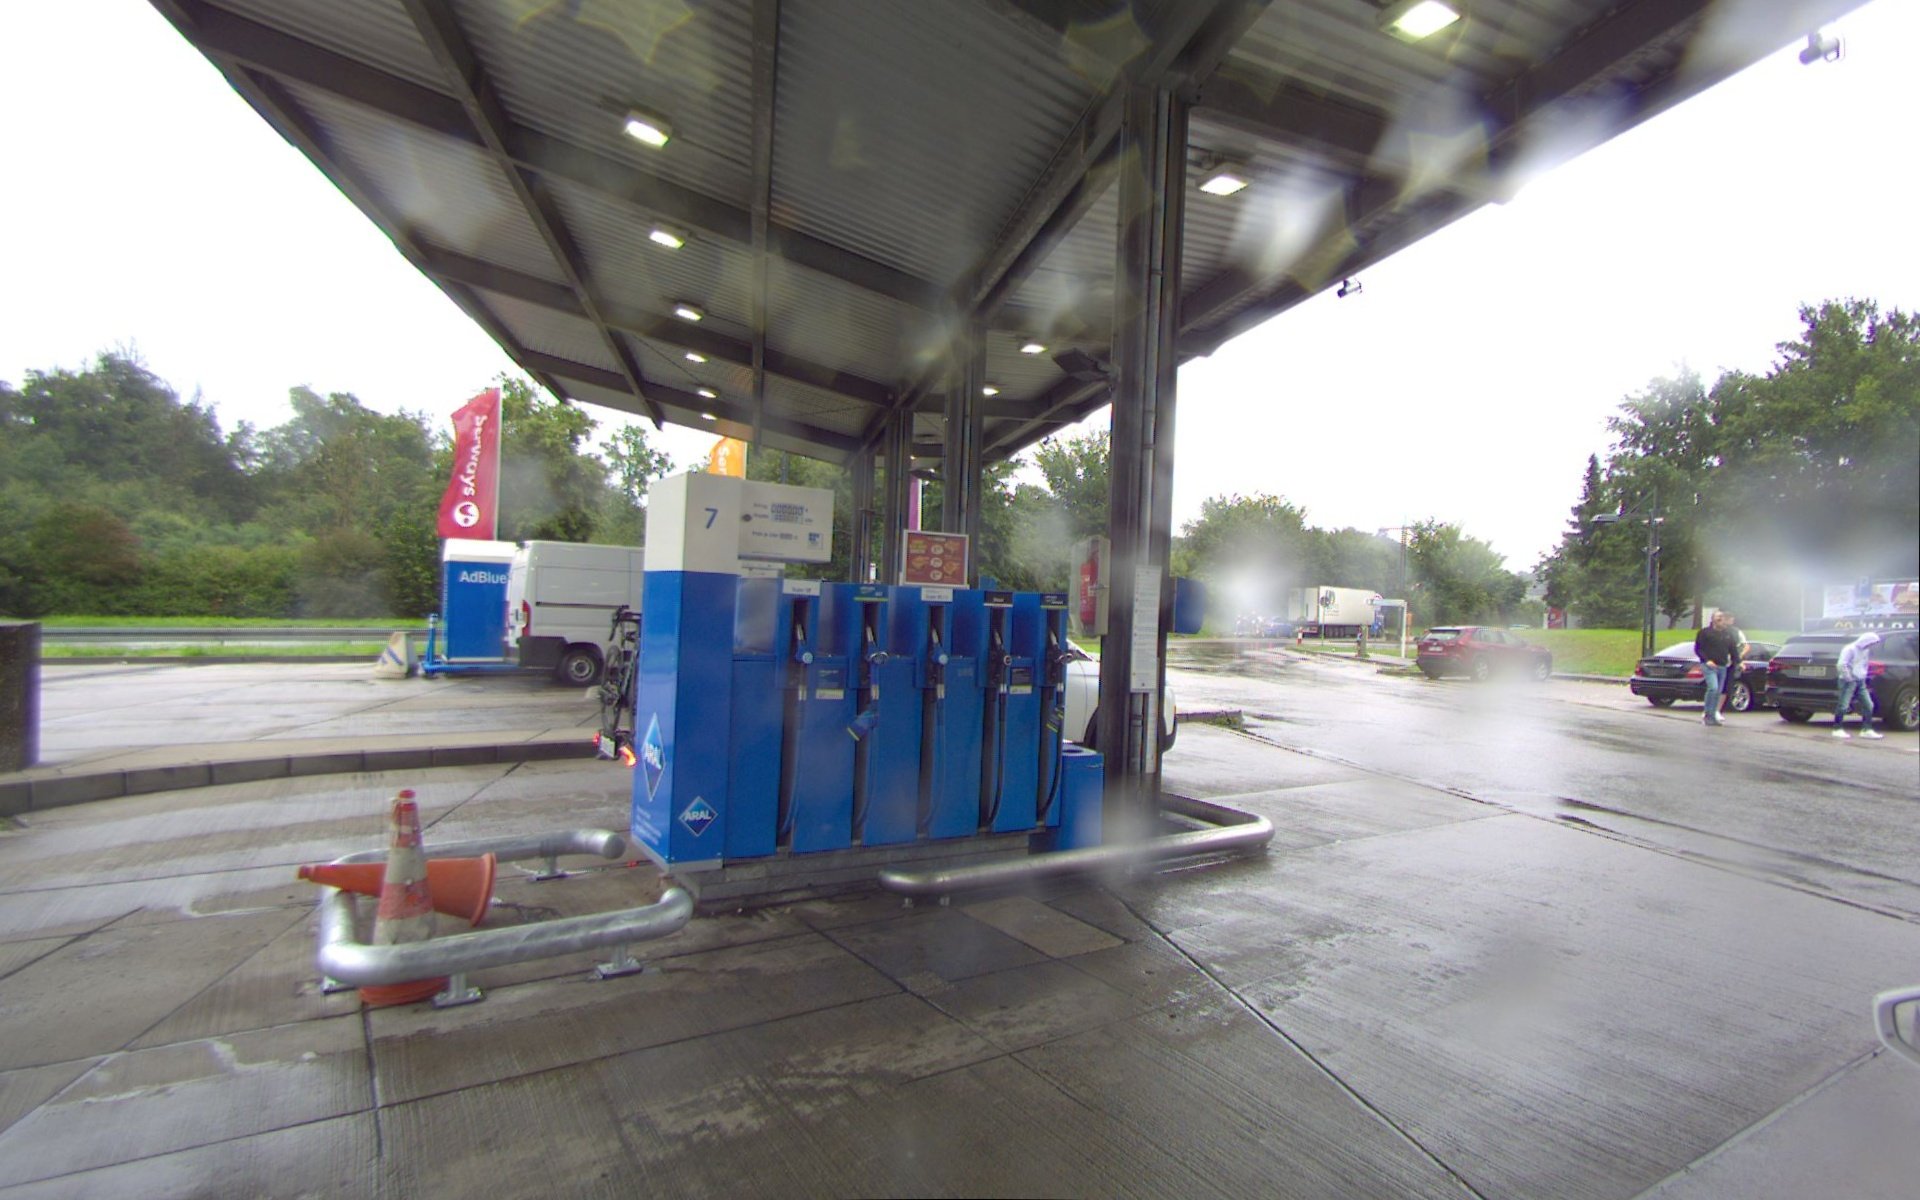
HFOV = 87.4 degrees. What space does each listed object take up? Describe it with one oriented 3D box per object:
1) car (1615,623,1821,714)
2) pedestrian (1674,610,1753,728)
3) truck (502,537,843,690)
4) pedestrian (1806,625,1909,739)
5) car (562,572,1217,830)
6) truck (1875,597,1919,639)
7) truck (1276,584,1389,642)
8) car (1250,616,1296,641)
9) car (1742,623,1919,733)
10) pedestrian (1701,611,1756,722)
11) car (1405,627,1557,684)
[{"bbox_3d":[15.943,1.358,21.088,4.293,1.734,2.007,1,-2,-31],"label":"car"},{"bbox_3d":[12.634,1.130,16.867,0.689,1.912,0.894,2,0,9],"label":"pedestrian"},{"bbox_3d":[-5.336,0.292,18.937,5.793,2.527,2.221,2,0,-30],"label":"truck"},{"bbox_3d":[13.713,1.223,15.373,0.690,1.653,0.954,2,0,0],"label":"pedestrian"},{"bbox_3d":[-0.423,0.701,8.456,5.210,1.629,1.852,2,0,-30],"label":"car"},{"bbox_3d":[68.854,1.327,71.701,5.285,2.959,2.191,2,0,-5],"label":"truck"},{"bbox_3d":[31.878,1.185,85.150,3.498,4.397,16.922,2,0,40],"label":"truck"},{"bbox_3d":[22.903,2.061,73.435,1.787,1.704,3.934,2,0,40],"label":"car"},{"bbox_3d":[16.174,1.273,17.465,4.274,1.734,2.016,1,-1,-18],"label":"car"},{"bbox_3d":[13.779,1.164,18.008,0.693,1.912,0.949,2,0,40],"label":"pedestrian"},{"bbox_3d":[16.078,1.671,31.000,4.283,1.666,1.933,1,-2,-25],"label":"car"}]
